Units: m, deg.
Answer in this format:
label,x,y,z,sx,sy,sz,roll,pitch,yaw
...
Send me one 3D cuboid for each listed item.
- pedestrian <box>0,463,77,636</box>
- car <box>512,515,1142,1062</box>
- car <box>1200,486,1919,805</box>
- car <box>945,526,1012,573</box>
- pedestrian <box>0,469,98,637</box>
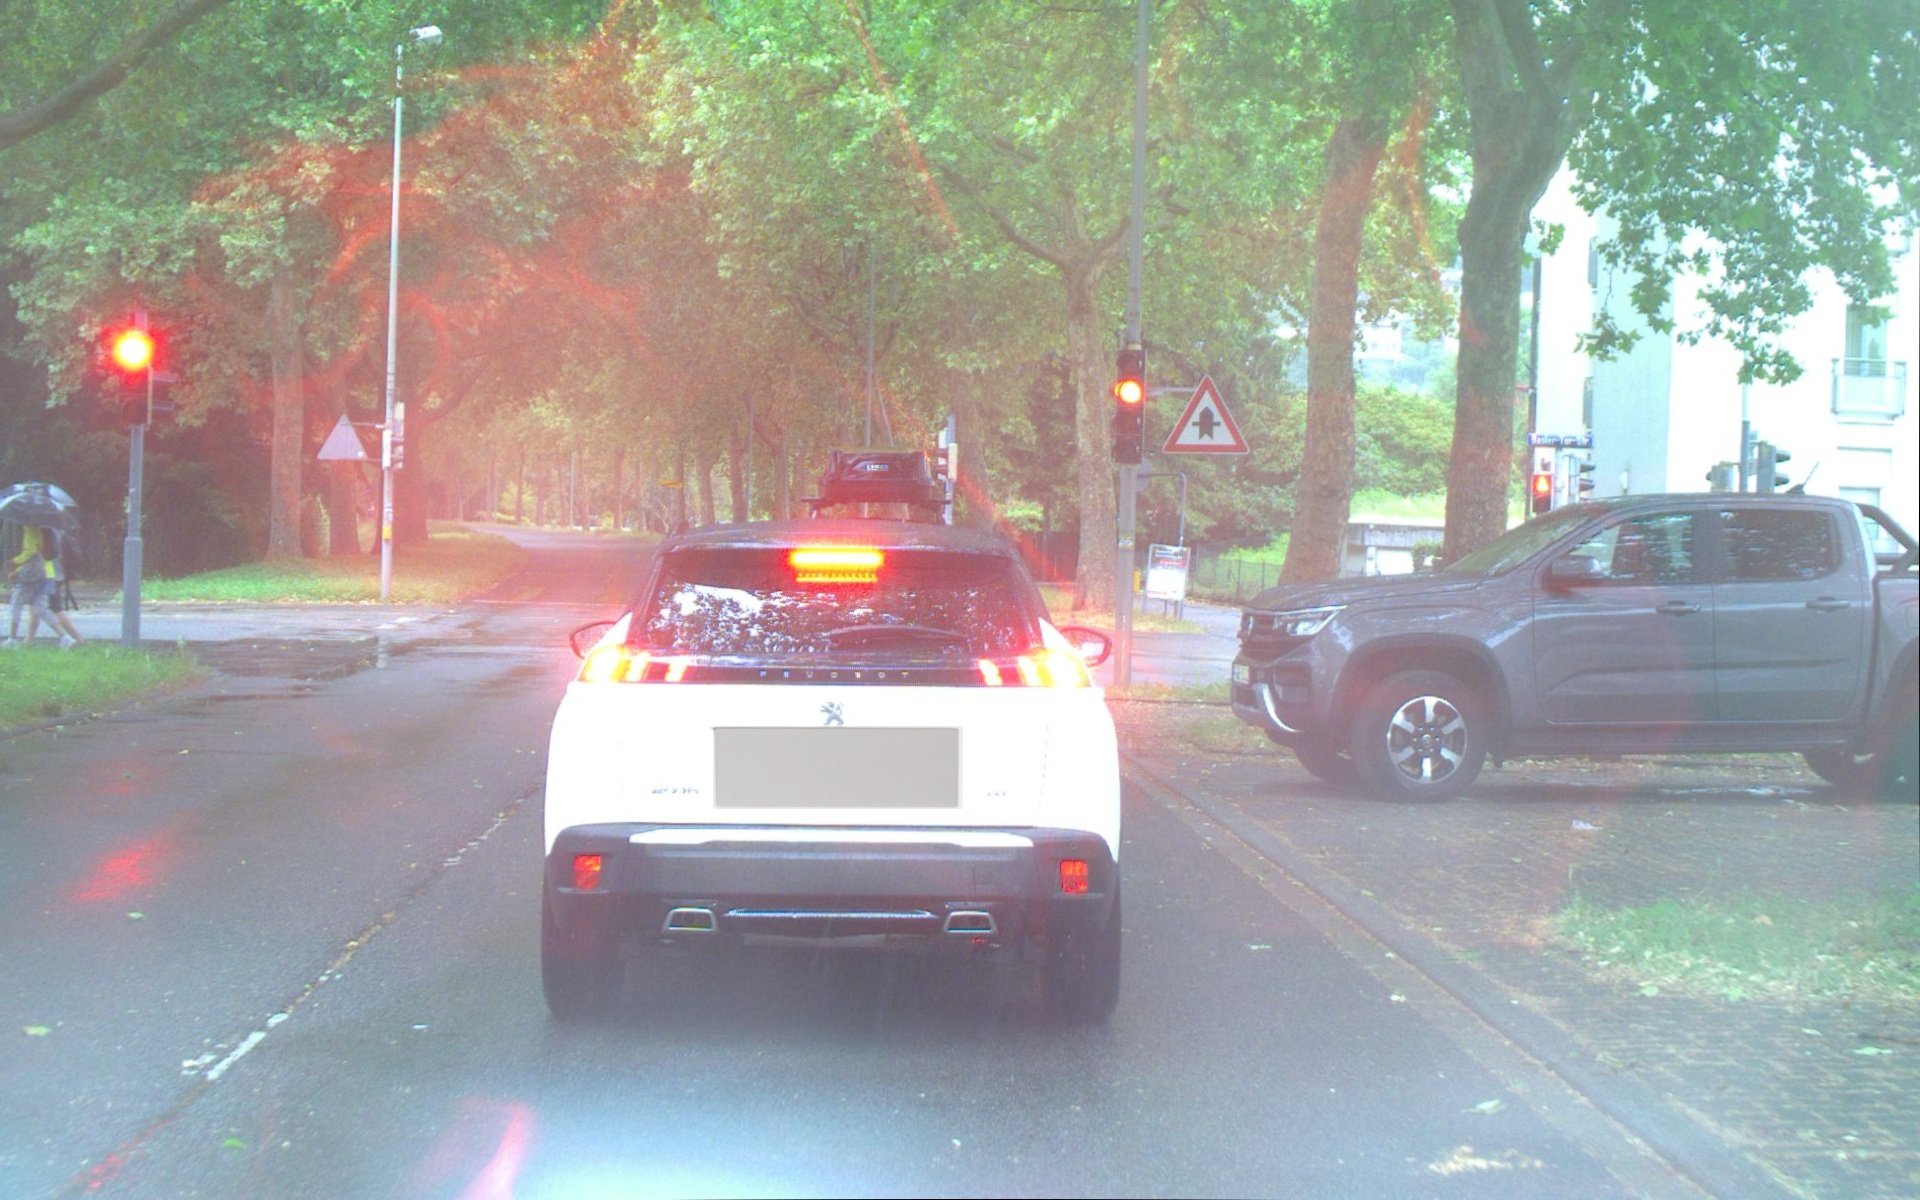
label,x,y,z,sx,sy,sz,roll,pitch,yaw
pedestrian,-9.596,-0.524,35.420,0.820,1.738,0.640,2,1,-3
car,-0.413,0.493,11.893,1.780,1.531,4.058,1,2,-1
car,4.252,0.251,20.626,5.337,1.800,1.846,0,1,-7
car,0.618,-1.734,116.413,1.905,1.504,3.932,1,1,-4
pedestrian,-9.623,-0.499,36.305,0.858,1.738,0.640,2,1,-3
